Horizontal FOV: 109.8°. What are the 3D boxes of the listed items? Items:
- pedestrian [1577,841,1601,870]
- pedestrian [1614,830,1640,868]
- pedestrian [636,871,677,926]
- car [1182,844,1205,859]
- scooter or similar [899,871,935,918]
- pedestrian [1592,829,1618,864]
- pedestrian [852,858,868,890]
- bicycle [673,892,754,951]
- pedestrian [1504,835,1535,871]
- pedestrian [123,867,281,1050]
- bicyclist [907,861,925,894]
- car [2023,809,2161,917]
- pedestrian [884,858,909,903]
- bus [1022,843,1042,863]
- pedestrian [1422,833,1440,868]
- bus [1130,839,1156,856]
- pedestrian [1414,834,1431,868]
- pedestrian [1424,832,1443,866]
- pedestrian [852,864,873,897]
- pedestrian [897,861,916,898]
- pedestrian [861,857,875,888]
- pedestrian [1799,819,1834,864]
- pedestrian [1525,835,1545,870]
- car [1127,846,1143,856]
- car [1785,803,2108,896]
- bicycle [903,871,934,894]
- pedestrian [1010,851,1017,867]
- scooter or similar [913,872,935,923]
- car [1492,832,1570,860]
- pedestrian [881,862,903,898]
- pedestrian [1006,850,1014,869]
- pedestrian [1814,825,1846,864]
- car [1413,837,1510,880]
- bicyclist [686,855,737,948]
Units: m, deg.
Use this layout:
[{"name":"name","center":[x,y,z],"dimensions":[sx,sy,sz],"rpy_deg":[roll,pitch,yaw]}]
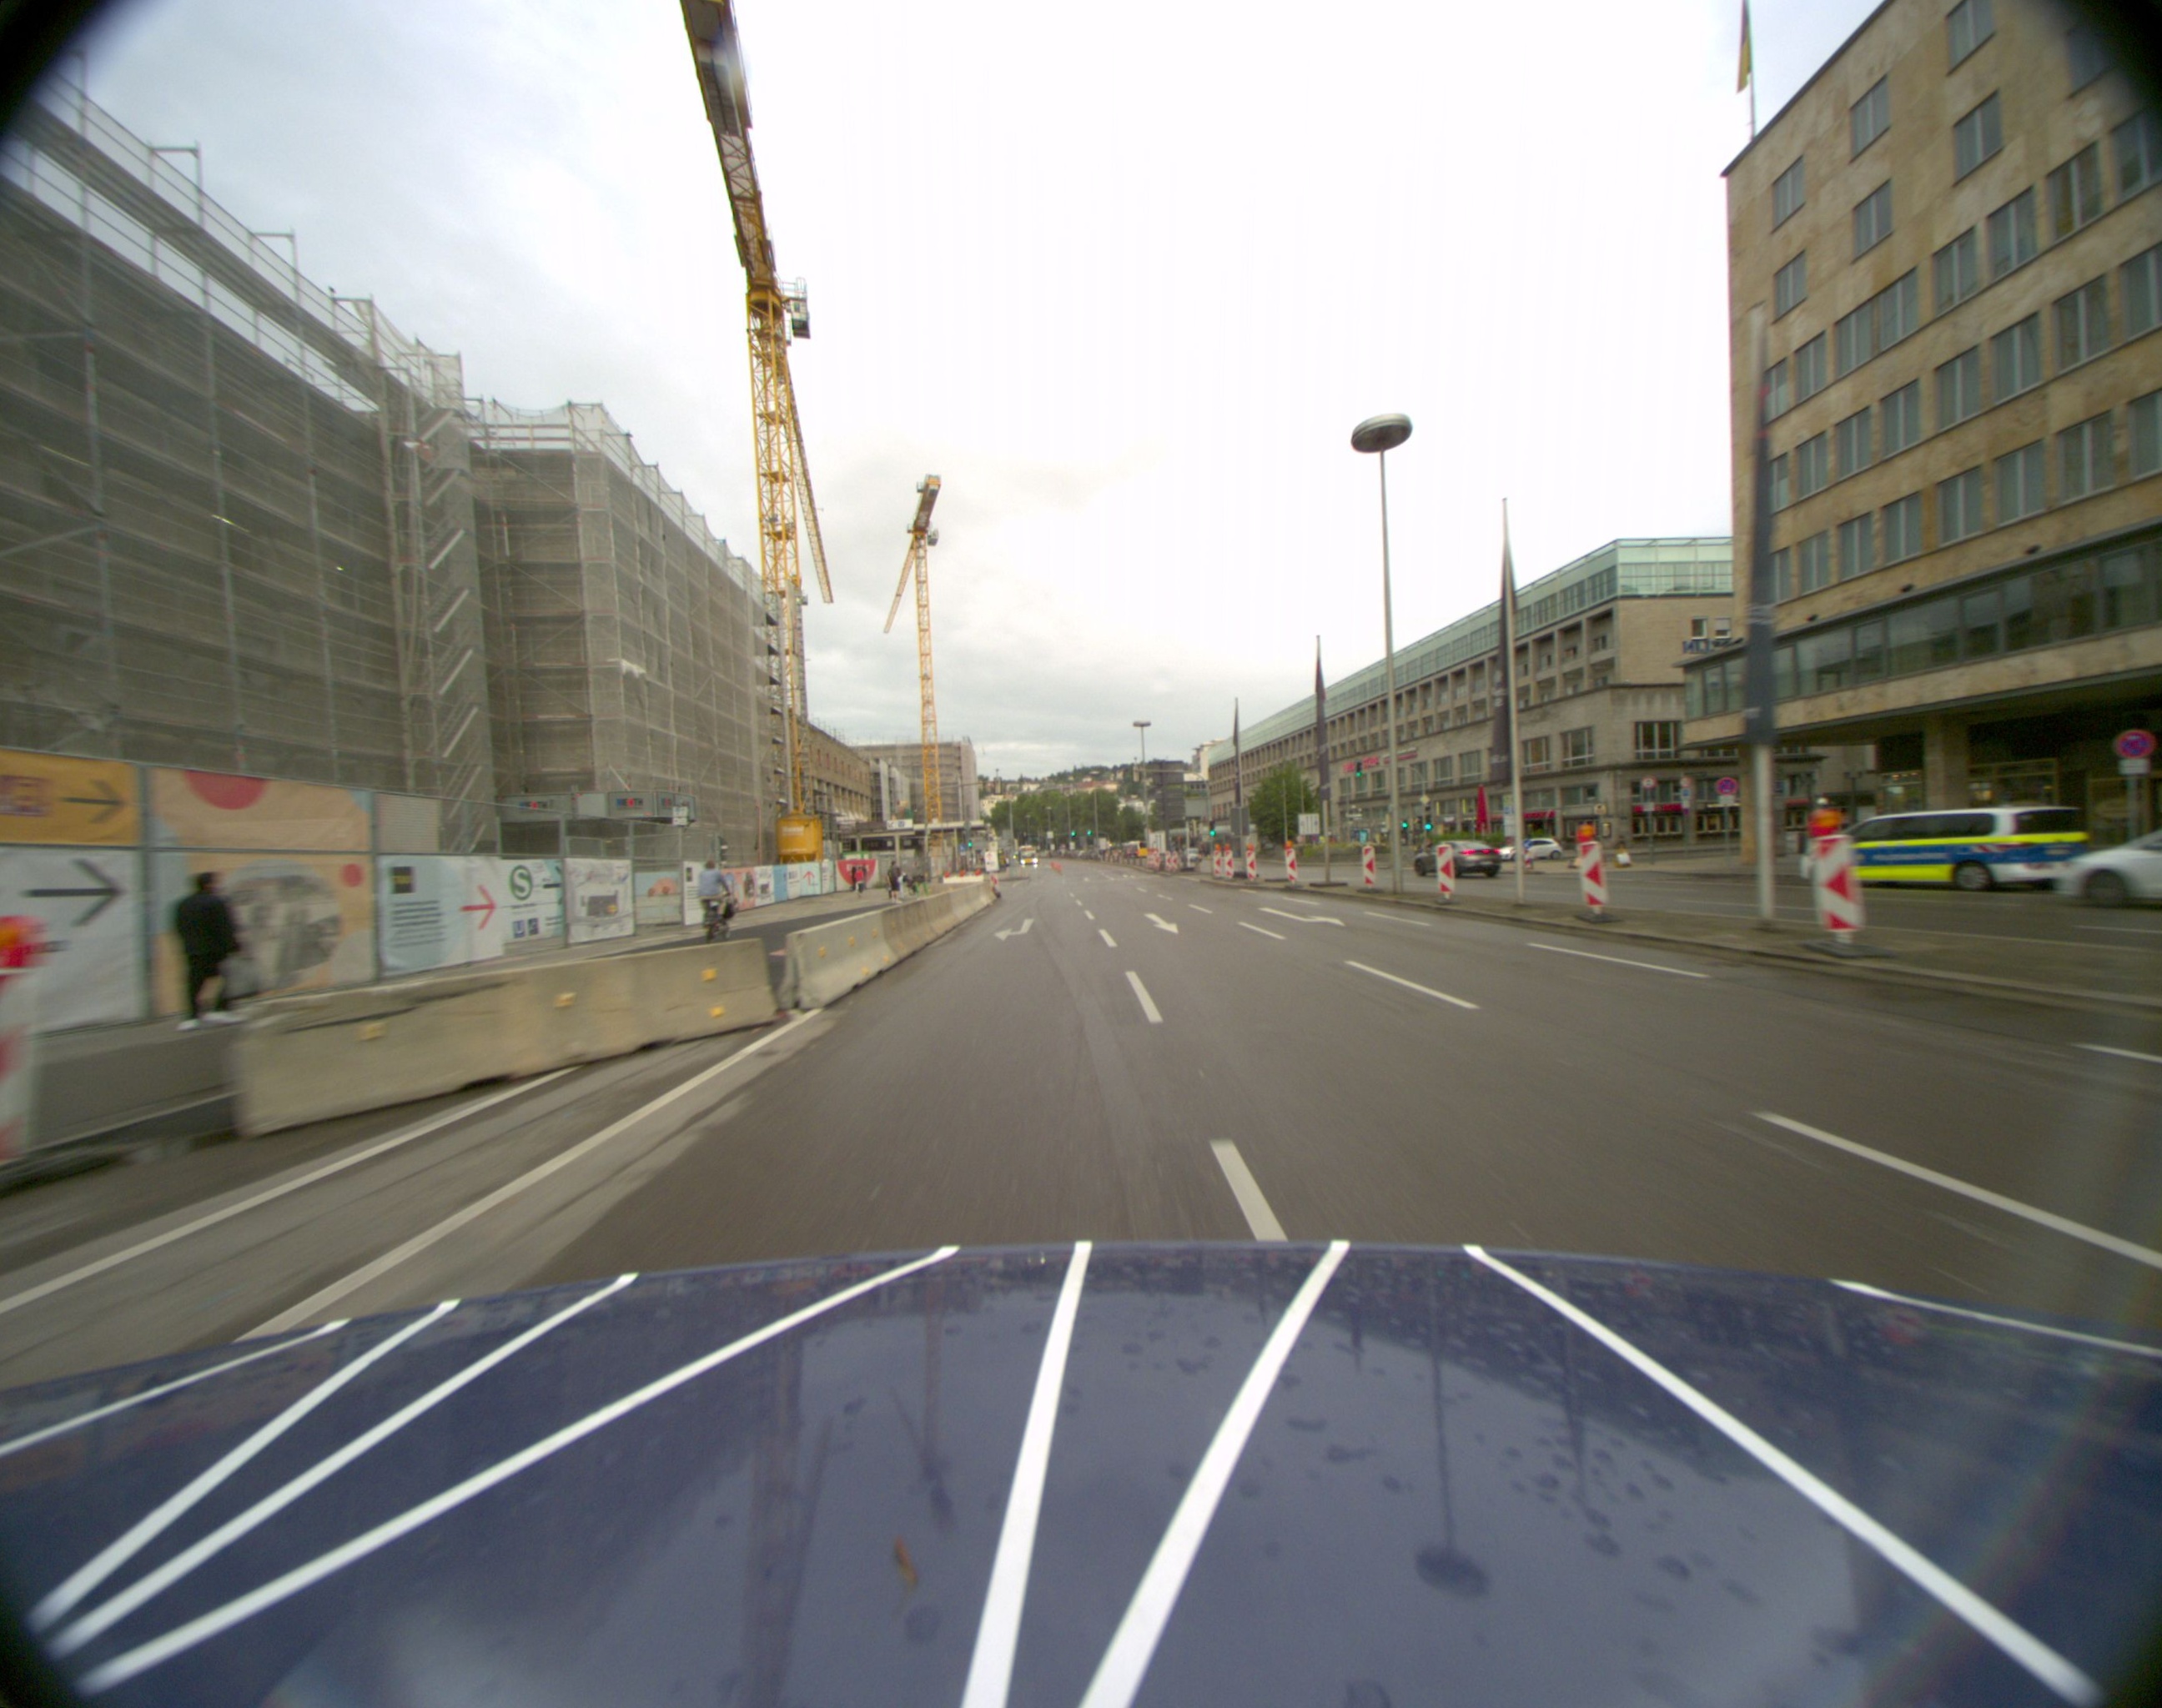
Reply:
[{"name":"pedestrian","center":[23.385,0.055,34.971],"dimensions":[0.564,1.284,0.752],"rpy_deg":[-2,1,-6]},{"name":"pedestrian","center":[24.448,-0.221,34.035],"dimensions":[0.564,1.659,0.752],"rpy_deg":[-2,1,-6]},{"name":"pedestrian","center":[-14.876,1.557,26.641],"dimensions":[1.003,1.838,0.675],"rpy_deg":[-2,1,-7]},{"name":"car","center":[13.012,-0.275,88.226],"dimensions":[1.759,1.612,3.998],"rpy_deg":[-2,1,-4]},{"name":"scooter or similar","center":[-4.925,1.203,22.874],"dimensions":[0.492,1.326,1.027],"rpy_deg":[-2,1,24]},{"name":"pedestrian","center":[23.869,-0.345,34.601],"dimensions":[0.667,1.582,0.680],"rpy_deg":[-3,1,-25]},{"name":"pedestrian","center":[-14.033,1.258,48.308],"dimensions":[0.640,2.002,0.629],"rpy_deg":[-2,1,21]},{"name":"bicycle","center":[-8.226,1.490,17.105],"dimensions":[0.767,1.105,1.981],"rpy_deg":[-2,0,1]},{"name":"pedestrian","center":[20.604,-0.039,35.678],"dimensions":[0.839,1.609,0.788],"rpy_deg":[-6,1,-14]},{"name":"pedestrian","center":[-9.592,1.110,8.324],"dimensions":[0.850,1.884,0.662],"rpy_deg":[-2,1,1]},{"name":"bicyclist","center":[-8.725,1.248,40.186],"dimensions":[0.696,1.695,0.434],"rpy_deg":[-2,1,15]},{"name":"car","center":[17.499,0.106,11.059],"dimensions":[1.829,1.659,4.498],"rpy_deg":[-3,0,-4]},{"name":"pedestrian","center":[-8.419,1.182,34.652],"dimensions":[0.788,2.000,0.866],"rpy_deg":[-2,1,6]},{"name":"bus","center":[-8.295,-0.092,127.332],"dimensions":[3.000,3.119,7.760],"rpy_deg":[-3,0,-6]},{"name":"pedestrian","center":[19.622,-0.203,42.630],"dimensions":[0.591,1.914,0.752],"rpy_deg":[-2,1,-4]},{"name":"bus","center":[11.497,-1.251,141.572],"dimensions":[2.910,2.923,9.816],"rpy_deg":[-2,1,-6]},{"name":"pedestrian","center":[19.602,-0.186,43.560],"dimensions":[0.715,1.914,0.592],"rpy_deg":[-2,1,37]},{"name":"pedestrian","center":[21.221,-0.324,45.717],"dimensions":[0.705,2.002,0.807],"rpy_deg":[-2,1,-3]},{"name":"pedestrian","center":[-11.677,1.413,40.649],"dimensions":[0.741,1.717,0.715],"rpy_deg":[-1,1,17]},{"name":"pedestrian","center":[-8.643,1.250,37.612],"dimensions":[0.806,1.746,0.814],"rpy_deg":[-1,3,-21]},{"name":"pedestrian","center":[-14.016,1.207,49.977],"dimensions":[0.629,2.002,0.577],"rpy_deg":[-3,1,-36]},{"name":"pedestrian","center":[31.276,-0.542,32.313],"dimensions":[0.717,1.864,0.772],"rpy_deg":[-2,1,1]},{"name":"pedestrian","center":[21.421,-0.065,35.859],"dimensions":[0.451,1.609,0.526],"rpy_deg":[-6,2,-15]},{"name":"car","center":[9.147,-0.467,128.977],"dimensions":[1.887,1.674,3.997],"rpy_deg":[-2,1,-6]},{"name":"car","center":[20.689,-0.073,18.620],"dimensions":[1.906,1.917,5.074],"rpy_deg":[-2,-1,-4]},{"name":"bicycle","center":[-8.646,1.520,40.464],"dimensions":[0.755,1.127,1.994],"rpy_deg":[-2,1,16]},{"name":"pedestrian","center":[-7.846,0.608,88.586],"dimensions":[0.646,1.813,0.735],"rpy_deg":[-2,1,0]},{"name":"scooter or similar","center":[-4.368,1.197,21.225],"dimensions":[0.526,1.326,1.024],"rpy_deg":[-3,1,-11]},{"name":"car","center":[29.818,-0.515,50.407],"dimensions":[4.090,1.630,1.806],"rpy_deg":[-2,1,1]},{"name":"pedestrian","center":[-9.459,1.297,38.076],"dimensions":[0.815,1.745,0.881],"rpy_deg":[-2,1,1]},{"name":"pedestrian","center":[-7.661,0.580,81.891],"dimensions":[0.735,2.002,0.645],"rpy_deg":[-2,1,-9]},{"name":"pedestrian","center":[31.104,-0.401,31.550],"dimensions":[0.625,1.600,0.683],"rpy_deg":[-2,1,1]},{"name":"car","center":[16.334,0.173,32.880],"dimensions":[1.779,1.659,4.499],"rpy_deg":[-2,0,-2]},{"name":"bicyclist","center":[-8.177,1.039,16.837],"dimensions":[0.728,2.002,0.599],"rpy_deg":[-2,1,1]}]
